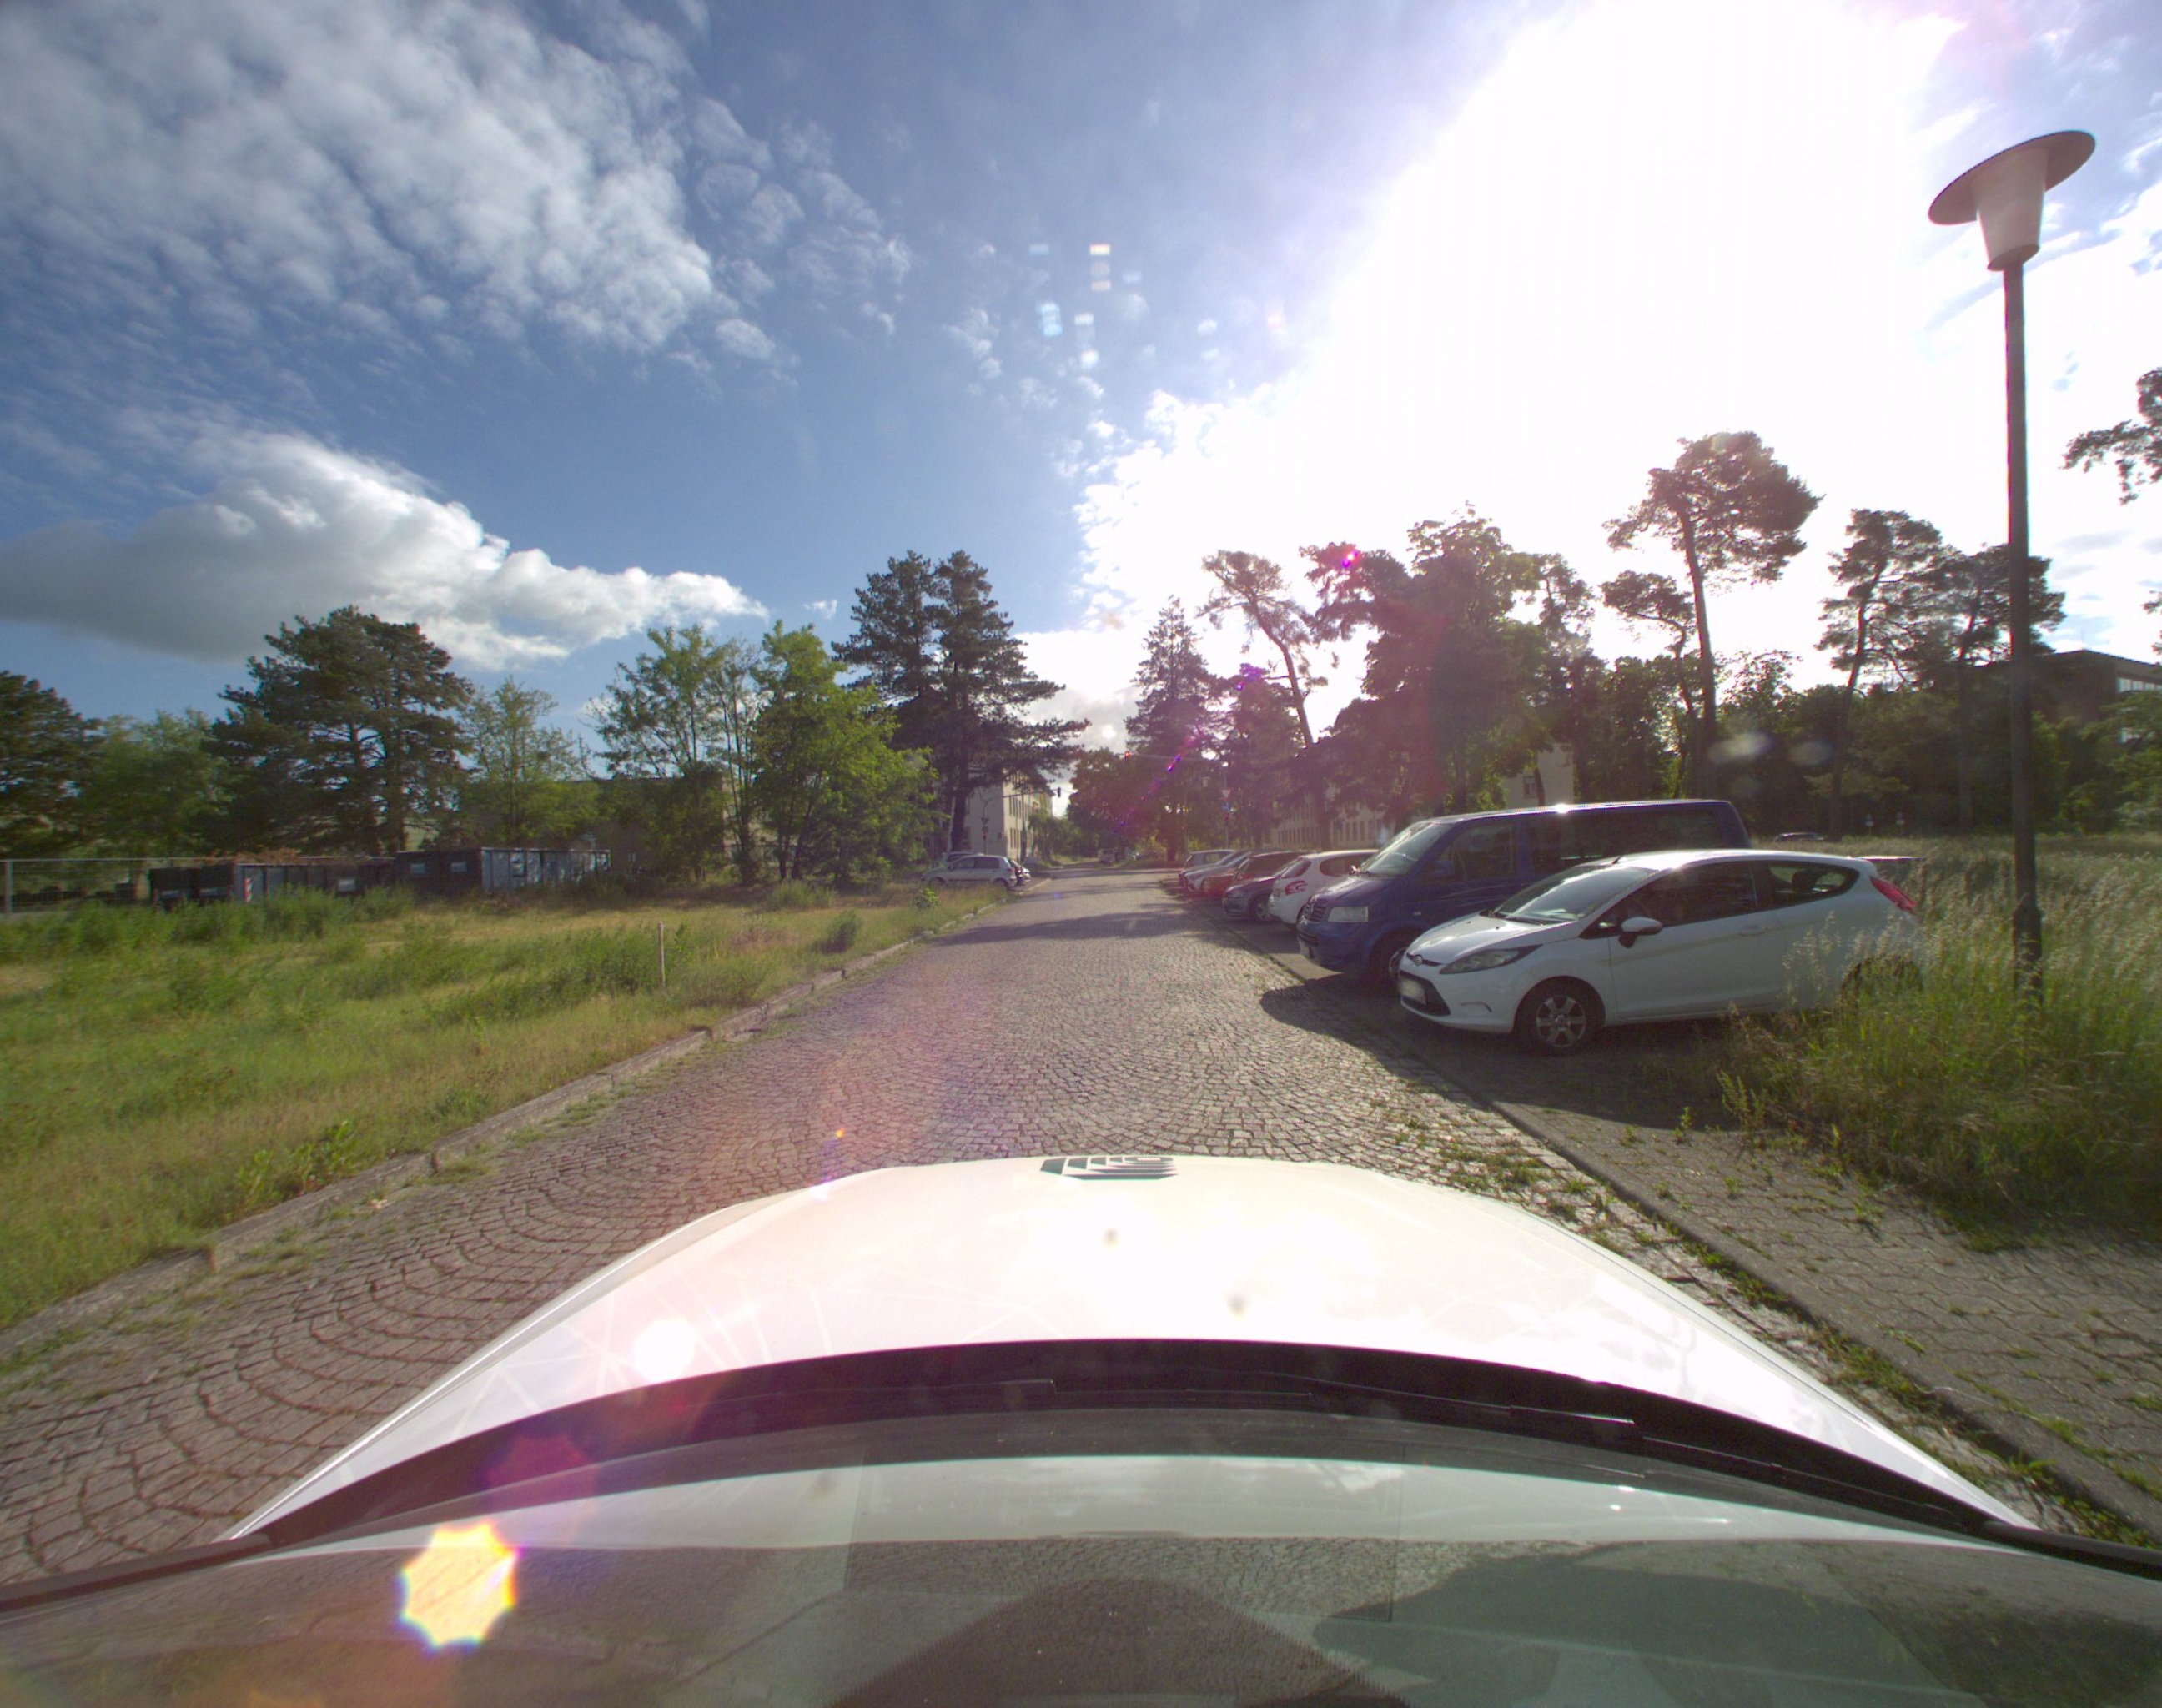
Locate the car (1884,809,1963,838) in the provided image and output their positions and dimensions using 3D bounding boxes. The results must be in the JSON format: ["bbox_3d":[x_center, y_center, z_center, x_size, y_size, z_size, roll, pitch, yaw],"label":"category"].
[{"bbox_3d":[64.482,-2.304,62.368,3.972,2.013,2.001,-2,0,1],"label":"car"}]

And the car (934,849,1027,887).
[{"bbox_3d":[-4.645,0.616,38.098,3.973,1.601,2.001,2,0,1],"label":"car"}]

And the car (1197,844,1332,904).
[{"bbox_3d":[5.188,0.547,23.288,3.466,1.529,1.645,-2,0,0],"label":"car"}]

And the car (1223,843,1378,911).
[{"bbox_3d":[5.477,0.551,20.588,3.466,1.529,1.645,-2,0,0],"label":"car"}]

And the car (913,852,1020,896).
[{"bbox_3d":[-4.544,0.776,32.702,3.975,1.600,1.999,-2,0,-1],"label":"car"}]

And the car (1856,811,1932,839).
[{"bbox_3d":[64.312,-2.263,64.475,3.972,2.013,2.001,-2,0,1],"label":"car"}]

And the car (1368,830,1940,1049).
[{"bbox_3d":[4.601,0.633,6.936,3.708,1.488,1.645,-2,0,-1],"label":"car"}]

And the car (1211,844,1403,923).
[{"bbox_3d":[4.813,0.611,17.682,3.663,1.467,1.645,-3,0,0],"label":"car"}]

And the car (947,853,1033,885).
[{"bbox_3d":[-4.491,0.704,40.497,3.973,1.453,2.001,1,0,1],"label":"car"}]

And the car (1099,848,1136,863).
[{"bbox_3d":[4.474,0.192,99.778,4.464,1.728,2.001,-1,0,1],"label":"car"}]

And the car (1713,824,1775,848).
[{"bbox_3d":[60.454,-1.612,74.310,3.972,2.013,2.001,-2,0,1],"label":"car"}]

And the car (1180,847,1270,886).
[{"bbox_3d":[5.831,0.491,33.232,3.332,1.482,1.645,-2,0,0],"label":"car"}]

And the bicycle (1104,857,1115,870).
[{"bbox_3d":[2.784,0.921,78.870,0.803,1.169,2.177,-3,0,-4],"label":"bicycle"}]

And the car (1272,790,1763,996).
[{"bbox_3d":[4.853,0.392,9.590,4.664,2.013,2.083,-2,0,-2],"label":"car"}]

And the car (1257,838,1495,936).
[{"bbox_3d":[5.229,0.562,14.783,3.679,1.465,1.646,-3,0,2],"label":"car"}]

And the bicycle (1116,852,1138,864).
[{"bbox_3d":[4.698,0.410,83.411,2.172,1.100,0.805,-1,0,-8],"label":"bicycle"}]

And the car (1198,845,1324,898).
[{"bbox_3d":[5.611,0.526,25.637,3.591,1.529,1.645,-2,0,0],"label":"car"}]

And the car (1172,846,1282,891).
[{"bbox_3d":[5.441,0.535,30.599,3.823,1.529,1.645,-2,0,0],"label":"car"}]

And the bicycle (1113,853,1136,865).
[{"bbox_3d":[4.388,0.499,82.296,2.172,1.100,0.805,-1,0,-8],"label":"bicycle"}]

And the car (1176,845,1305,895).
[{"bbox_3d":[5.398,0.524,27.826,4.024,1.529,1.644,-2,0,-2],"label":"car"}]
